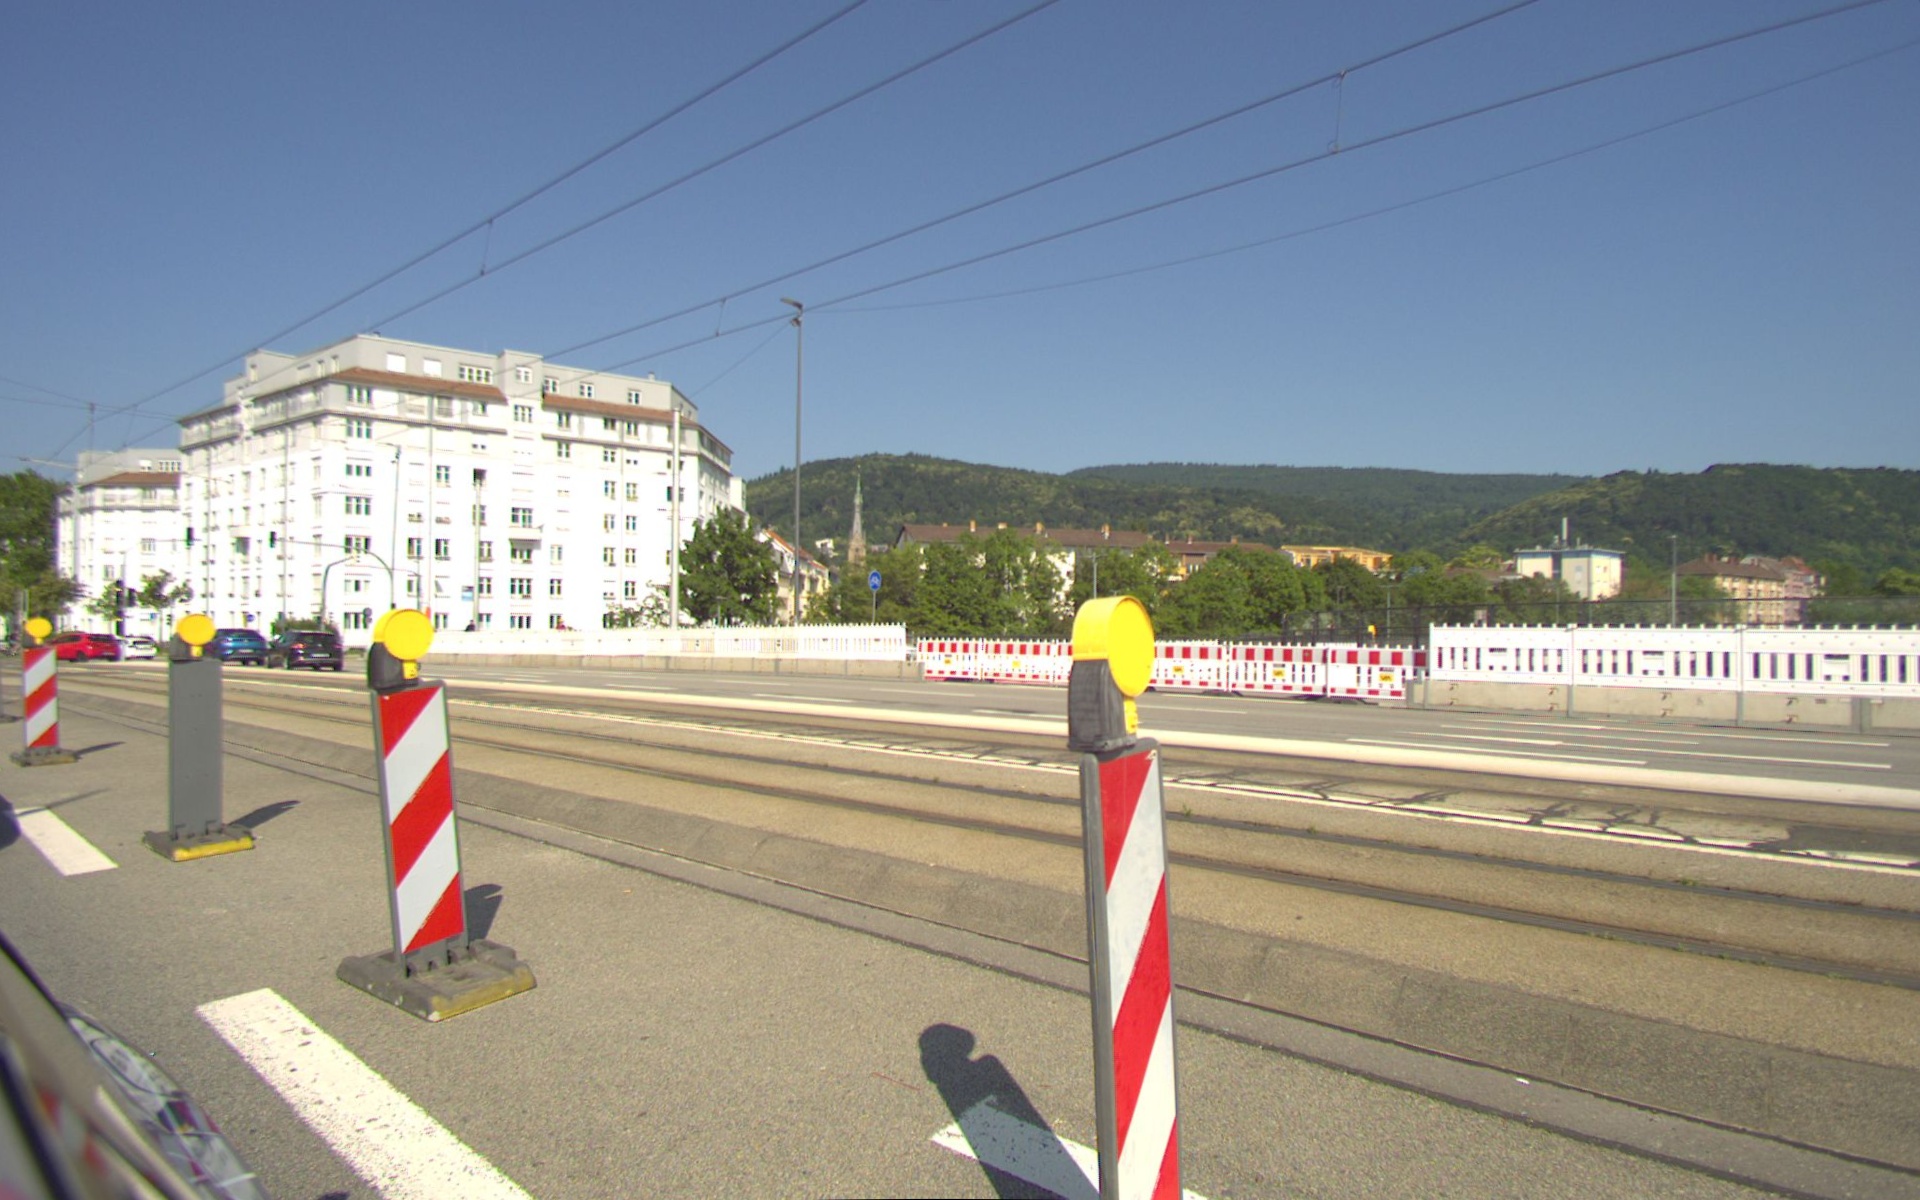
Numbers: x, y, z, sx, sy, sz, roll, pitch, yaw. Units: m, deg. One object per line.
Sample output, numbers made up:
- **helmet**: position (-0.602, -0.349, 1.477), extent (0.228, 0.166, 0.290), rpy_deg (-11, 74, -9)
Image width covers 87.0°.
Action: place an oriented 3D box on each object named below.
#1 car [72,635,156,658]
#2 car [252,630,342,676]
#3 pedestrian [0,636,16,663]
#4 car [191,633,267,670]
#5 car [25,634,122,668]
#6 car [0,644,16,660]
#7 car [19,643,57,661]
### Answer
- **car**: position (-54.739, 3.024, 65.525), extent (4.437, 1.423, 1.697), rpy_deg (0, -3, 10)
- **car**: position (-23.489, 1.866, 35.812), extent (4.174, 1.512, 1.490), rpy_deg (-2, -4, 40)
- **pedestrian**: position (-60.911, 3.137, 64.473), extent (0.820, 1.719, 0.992), rpy_deg (-1, -1, 33)
- **car**: position (-31.978, 2.232, 44.205), extent (4.553, 1.562, 1.652), rpy_deg (-2, -3, 41)
- **car**: position (-44.439, 2.551, 50.759), extent (3.938, 1.448, 1.533), rpy_deg (-2, 1, 11)
- **car**: position (-91.905, 4.938, 96.727), extent (3.732, 1.496, 1.719), rpy_deg (-2, -2, 36)
- **car**: position (-79.686, 4.474, 87.438), extent (3.732, 1.496, 1.719), rpy_deg (-2, -2, 36)
